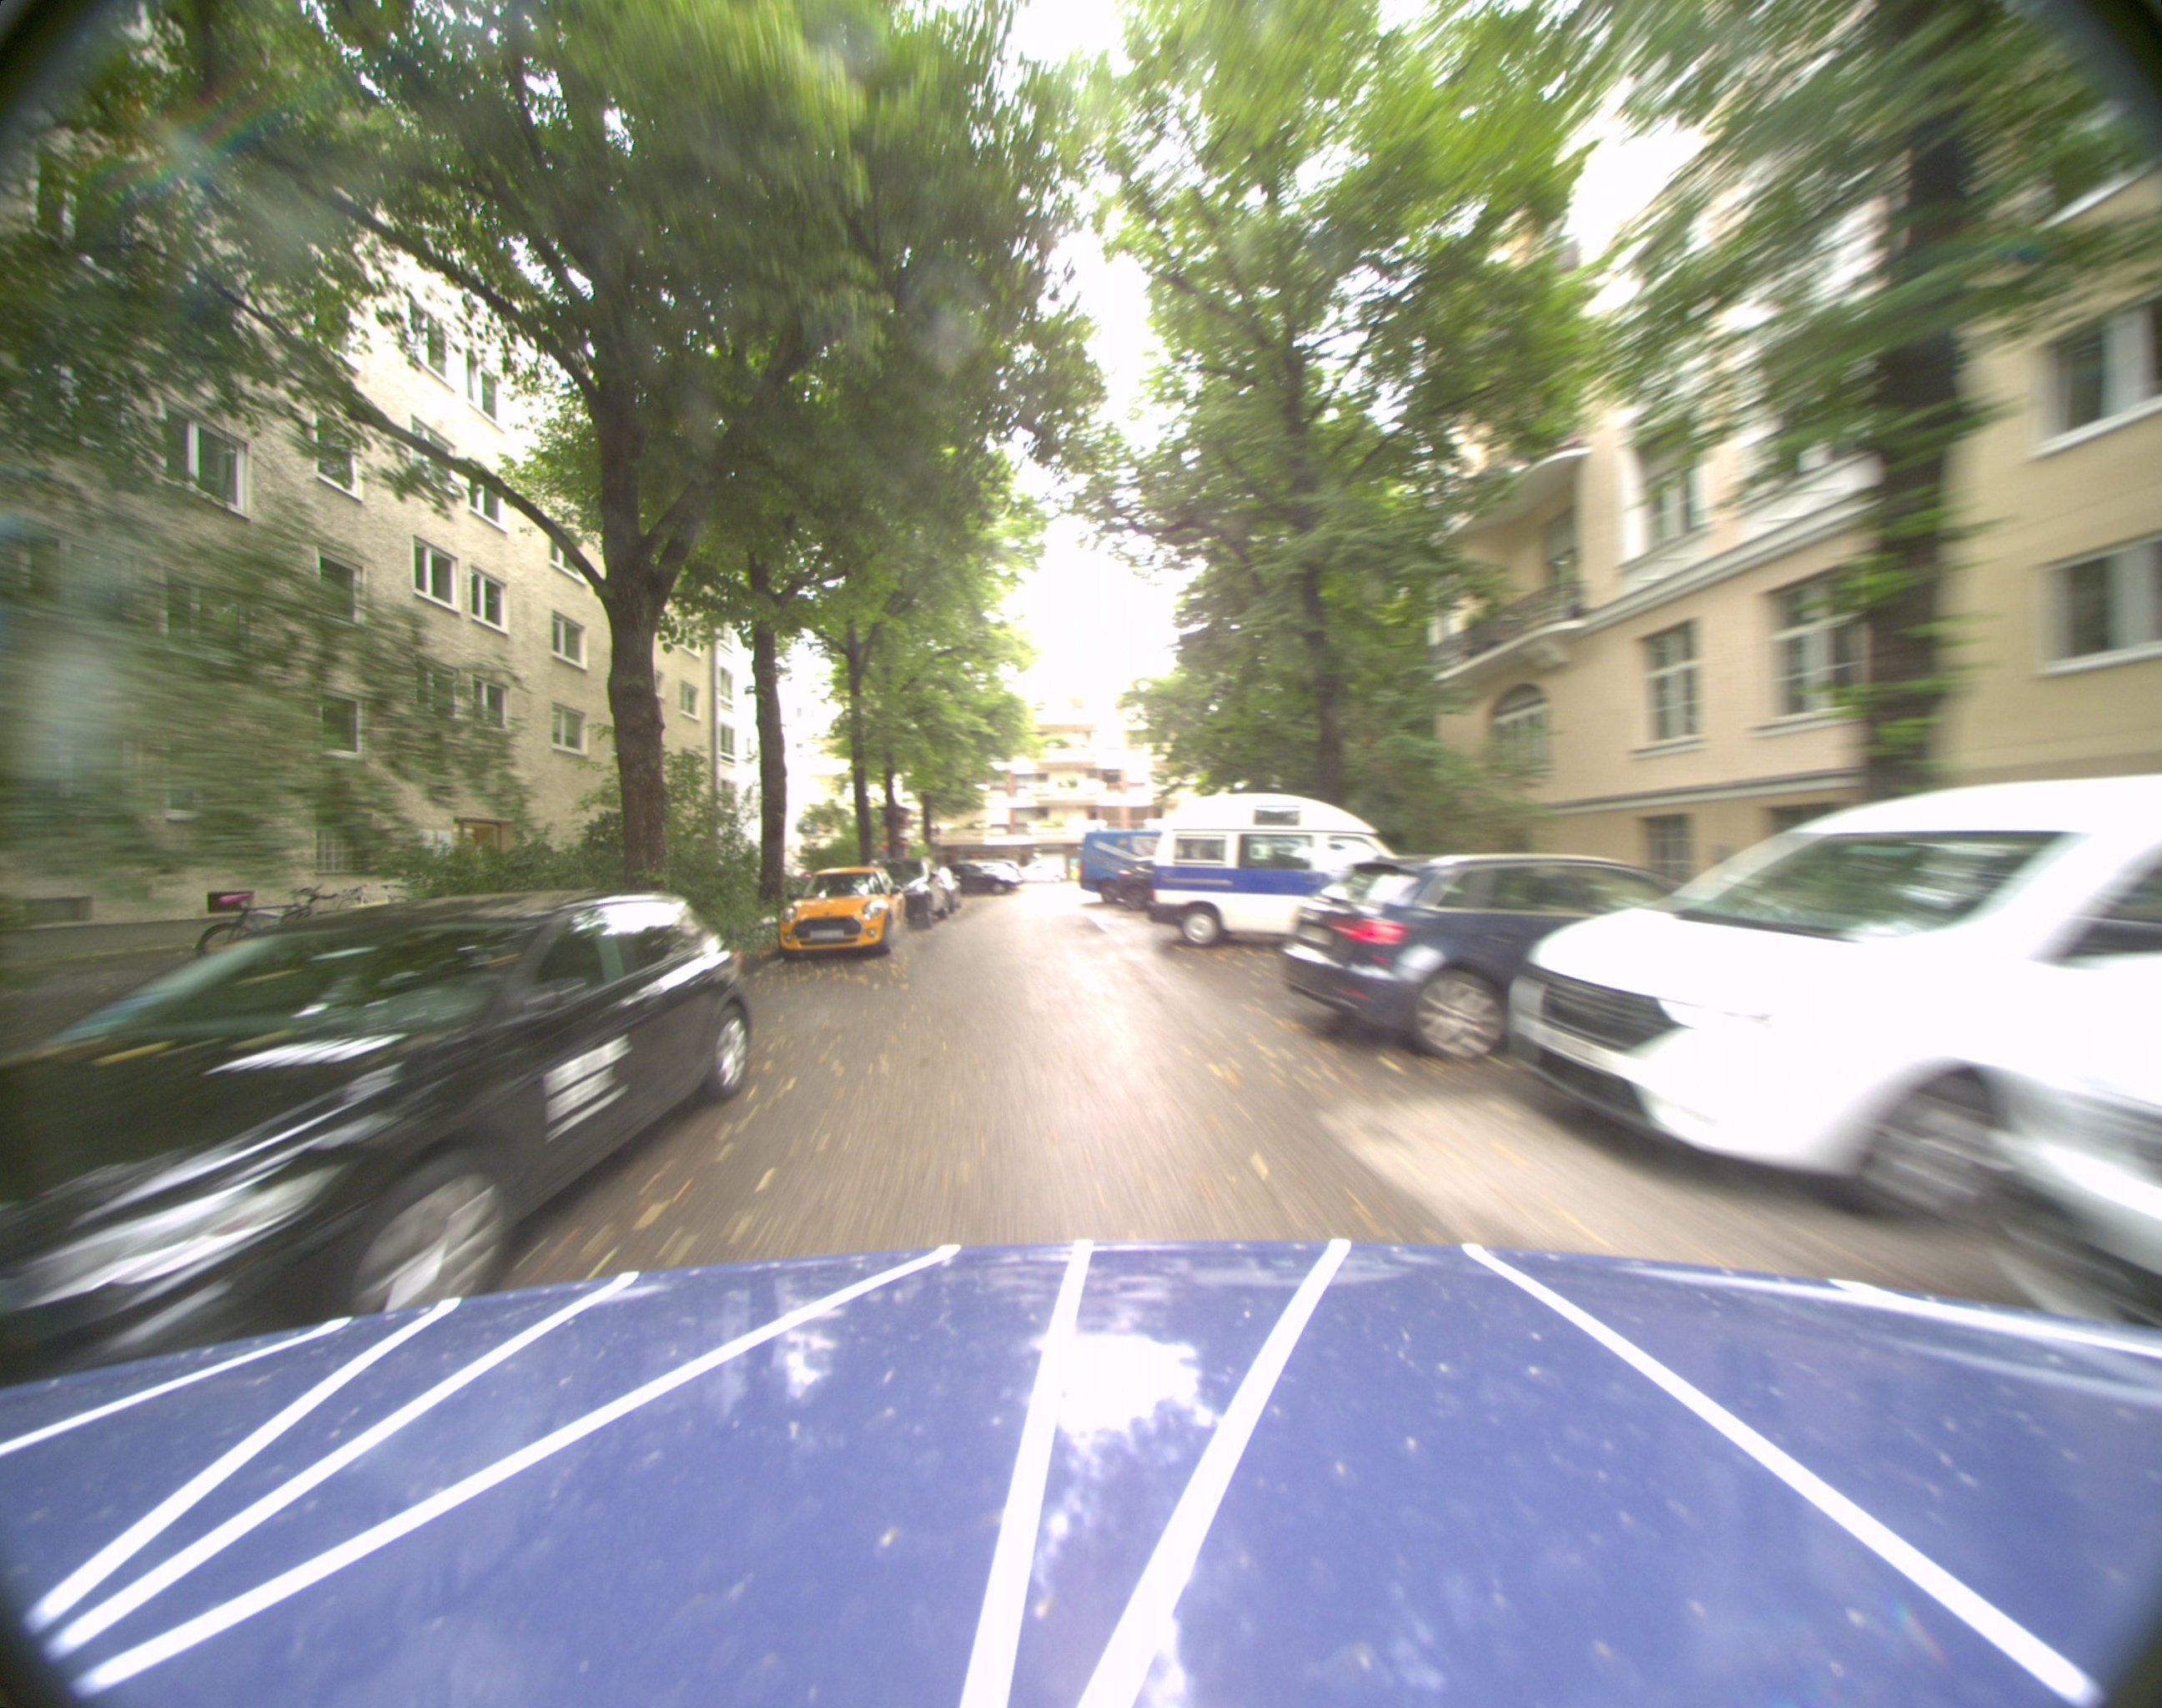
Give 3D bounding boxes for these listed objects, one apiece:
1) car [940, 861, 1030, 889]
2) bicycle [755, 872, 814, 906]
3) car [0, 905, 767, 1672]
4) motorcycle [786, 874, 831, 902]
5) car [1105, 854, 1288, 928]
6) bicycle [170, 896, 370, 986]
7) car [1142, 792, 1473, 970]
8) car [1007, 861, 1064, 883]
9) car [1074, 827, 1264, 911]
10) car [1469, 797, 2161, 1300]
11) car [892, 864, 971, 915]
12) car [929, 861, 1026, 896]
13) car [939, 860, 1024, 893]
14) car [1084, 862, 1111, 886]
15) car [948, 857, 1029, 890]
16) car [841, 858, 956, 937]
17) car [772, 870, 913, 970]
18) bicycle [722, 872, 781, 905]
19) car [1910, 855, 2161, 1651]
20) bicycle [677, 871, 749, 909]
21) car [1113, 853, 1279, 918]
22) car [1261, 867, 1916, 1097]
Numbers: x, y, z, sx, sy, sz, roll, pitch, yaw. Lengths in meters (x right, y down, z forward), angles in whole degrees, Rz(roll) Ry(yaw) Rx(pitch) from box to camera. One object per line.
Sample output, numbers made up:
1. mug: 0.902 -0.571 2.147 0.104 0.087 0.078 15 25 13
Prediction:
1. car: -5.238 1.118 41.565 4.733 1.369 1.959 -1 0 -7
2. bicycle: -10.562 1.227 27.131 1.878 1.117 0.539 -2 0 -15
3. car: -3.040 1.062 3.524 1.686 1.350 4.007 -2 0 -4
4. motorcycle: -12.391 1.544 34.548 1.807 1.190 0.691 -1 0 -10
5. car: 2.702 0.788 17.818 3.857 1.552 1.819 0 1 27
6. bicycle: -10.787 1.135 10.158 1.836 1.077 0.547 -1 0 -11
7. car: 3.425 0.362 11.816 4.572 2.364 1.908 0 1 22
8. car: -3.188 1.302 53.398 3.830 1.412 1.566 -2 -2 1
9. car: 2.666 0.363 23.615 5.479 2.341 2.069 1 2 32
10. car: 4.446 0.660 3.553 4.324 1.721 1.848 -1 0 0
11. car: -4.642 1.057 24.186 1.904 1.405 4.427 0 0 -4
12. car: -4.565 1.073 33.959 4.093 1.386 1.734 -1 0 -2
13. car: -4.757 1.076 36.502 3.947 1.439 1.825 -1 0 -7
14. car: 1.144 1.407 52.056 1.719 1.445 4.244 -2 -3 2
15. car: -4.684 0.984 38.887 3.982 1.546 1.756 -1 0 -3
16. car: -4.230 0.939 18.322 1.836 1.619 4.524 -2 0 -3
17. car: -4.004 1.027 13.324 1.623 1.404 3.778 -2 0 -6
18. bicycle: -11.901 1.247 27.490 1.878 1.117 0.539 -2 0 -15
19. car: 4.367 0.749 0.997 4.459 1.587 1.835 -2 0 2
20. bicycle: -11.520 1.115 23.822 1.949 1.117 0.445 -2 0 -19
21. car: 3.031 0.767 20.349 3.988 1.528 1.819 0 1 35
22. car: 3.619 0.844 5.895 3.998 1.425 1.735 -1 0 -4
